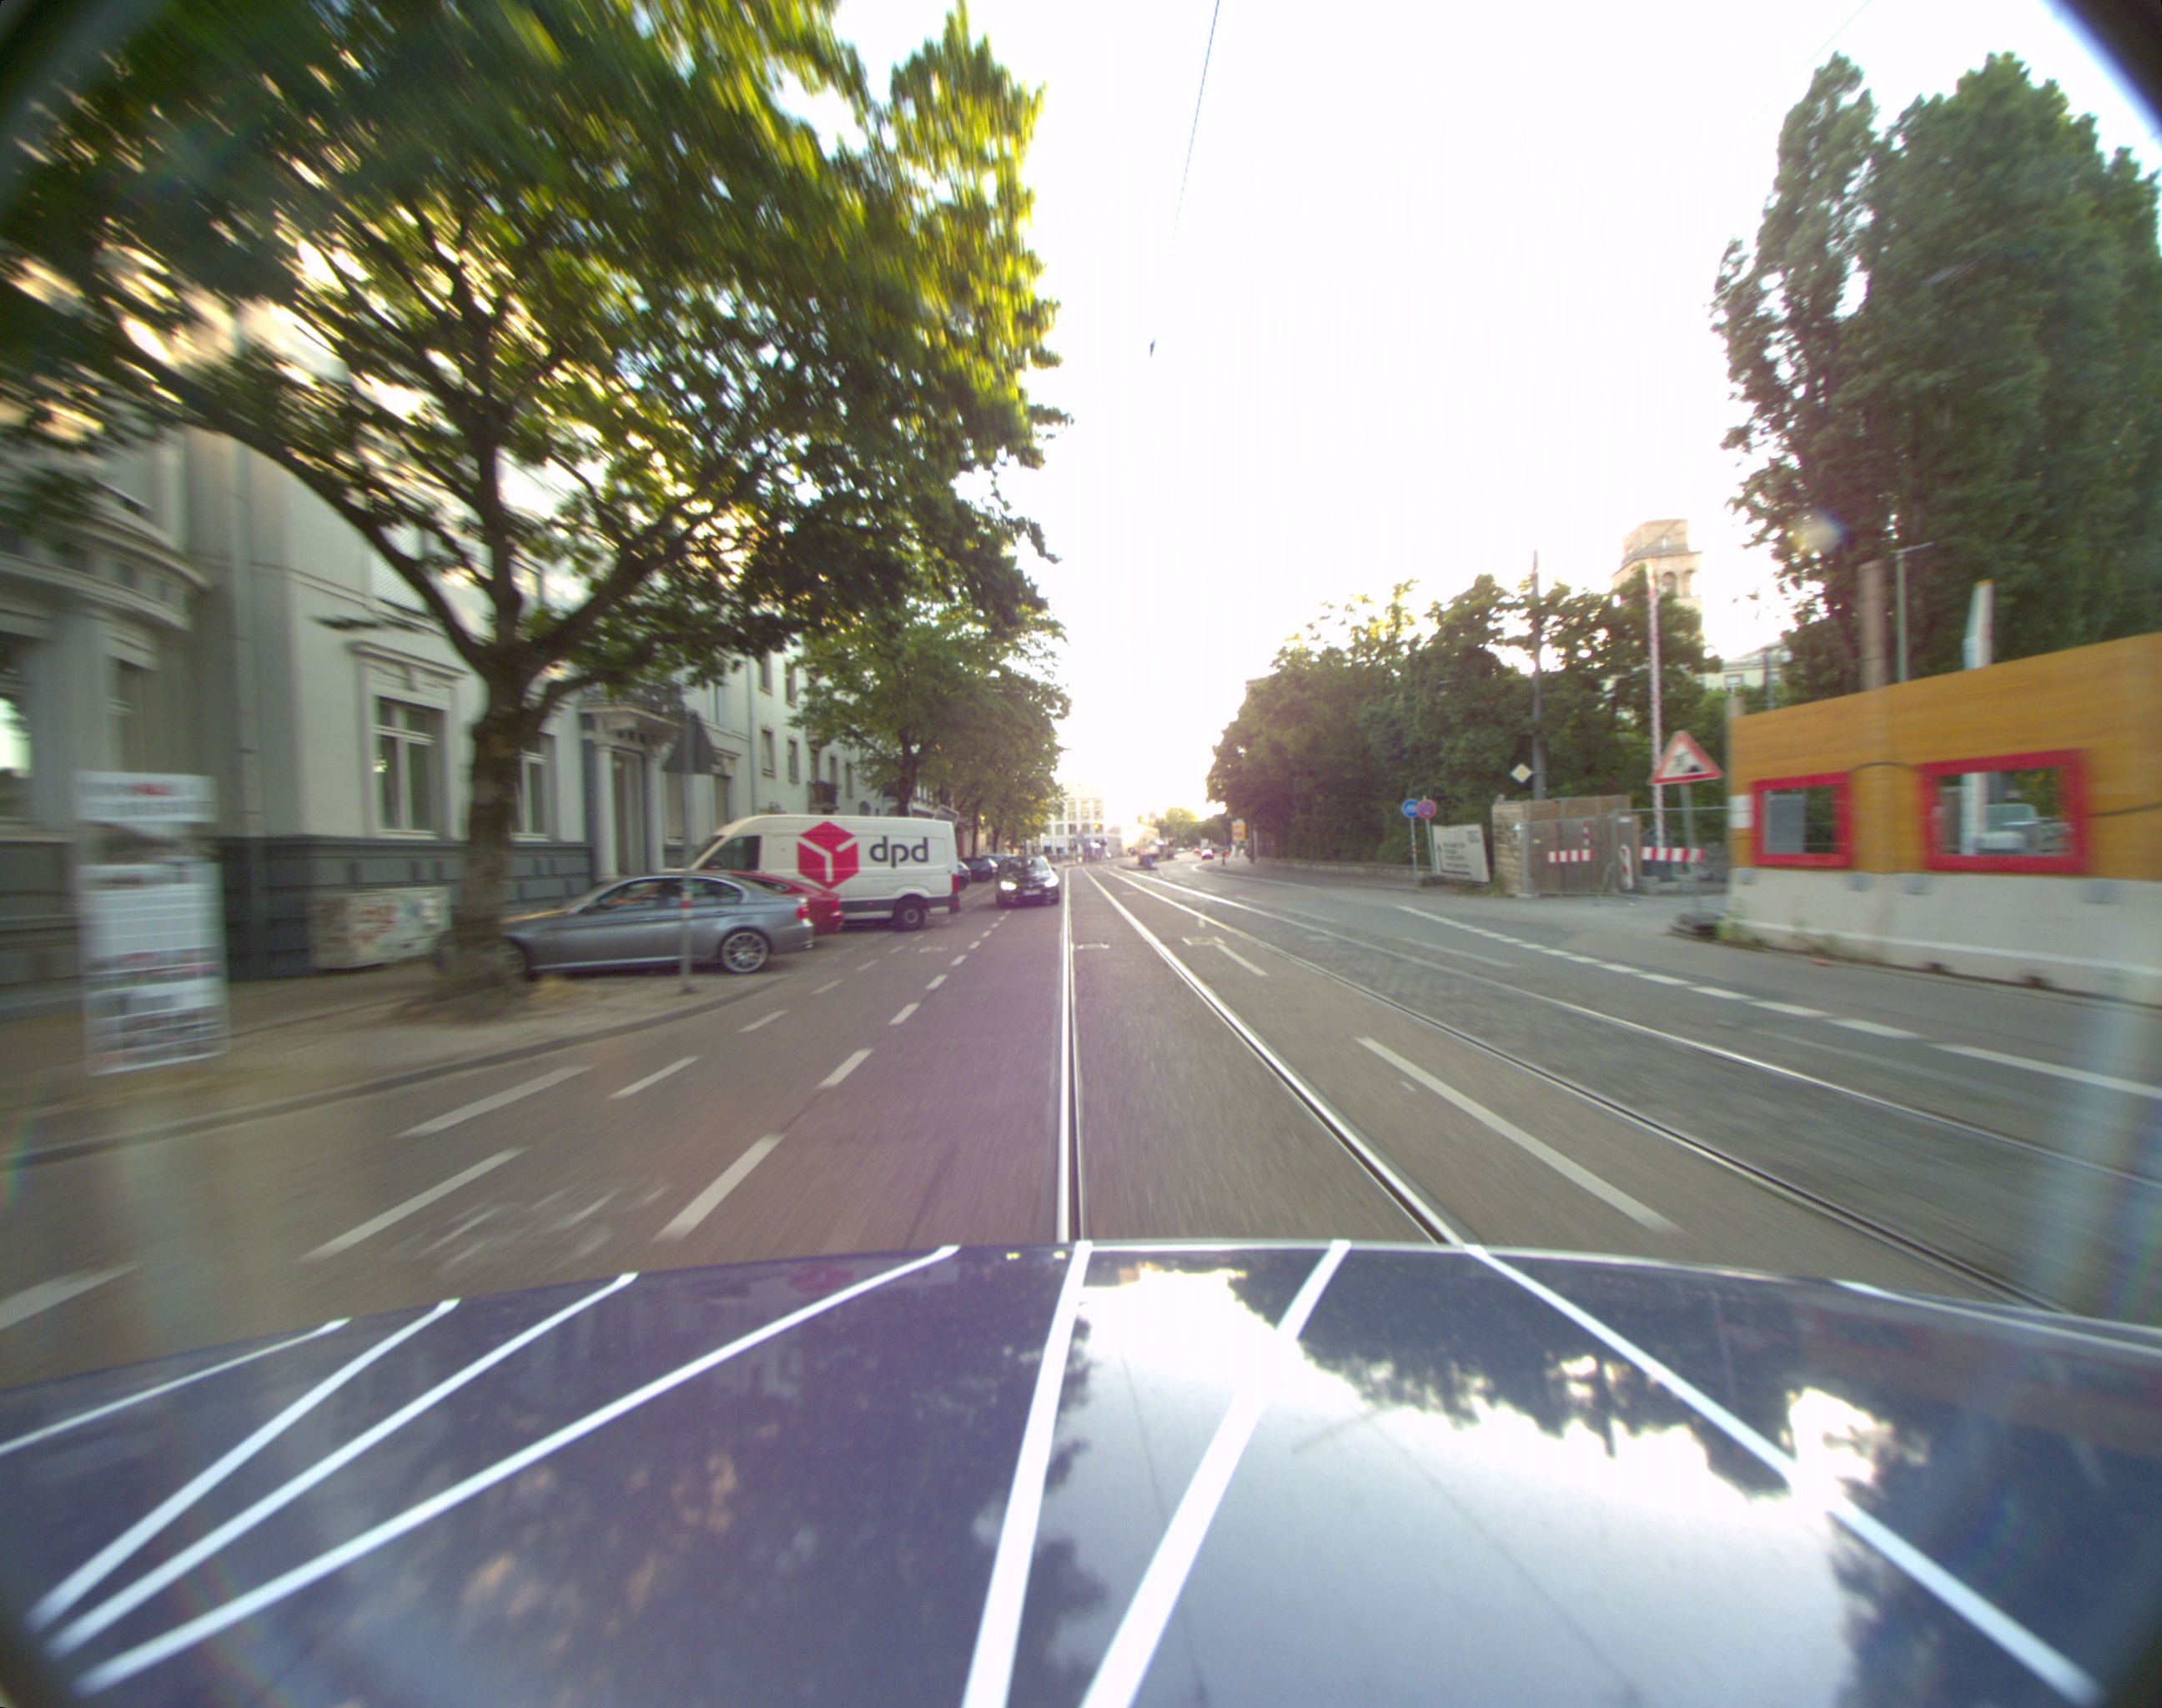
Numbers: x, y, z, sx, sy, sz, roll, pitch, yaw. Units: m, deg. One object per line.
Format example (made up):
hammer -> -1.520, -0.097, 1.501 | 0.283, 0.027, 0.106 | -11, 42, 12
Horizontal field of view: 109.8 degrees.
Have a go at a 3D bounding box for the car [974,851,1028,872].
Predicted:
car -> -6.904, 0.617, 65.541 | 4.217, 1.600, 1.739 | -2, 1, -30

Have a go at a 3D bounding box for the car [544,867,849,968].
car -> -6.499, 0.973, 13.187 | 4.414, 1.436, 1.983 | 0, 1, -29

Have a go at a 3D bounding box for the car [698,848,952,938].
car -> -6.345, 0.859, 19.189 | 5.650, 1.884, 2.166 | -2, 0, -35

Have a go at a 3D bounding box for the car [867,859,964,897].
car -> -6.845, 0.952, 31.535 | 3.581, 1.402, 1.517 | -2, 1, -36

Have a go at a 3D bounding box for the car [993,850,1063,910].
car -> -1.612, 0.754, 24.482 | 1.840, 1.631, 4.168 | -5, 0, -1

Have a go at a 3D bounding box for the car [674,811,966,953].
car -> -5.636, 0.472, 16.825 | 5.650, 2.678, 2.166 | -2, 1, -35

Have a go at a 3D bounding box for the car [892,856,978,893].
car -> -6.667, 0.901, 34.798 | 3.580, 1.536, 1.381 | -2, 1, -30

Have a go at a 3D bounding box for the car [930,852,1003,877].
car -> -7.074, 0.622, 46.760 | 4.214, 1.494, 1.741 | 0, 0, -17

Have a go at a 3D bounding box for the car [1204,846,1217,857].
car -> 21.137, -0.385, 124.208 | 1.997, 1.674, 4.002 | -1, 0, 9

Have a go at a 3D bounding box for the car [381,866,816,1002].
car -> -6.176, 0.932, 10.359 | 4.615, 1.504, 1.858 | 1, -1, -28

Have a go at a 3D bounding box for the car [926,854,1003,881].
car -> -6.818, 0.784, 44.324 | 4.214, 1.494, 1.741 | 0, 0, -17

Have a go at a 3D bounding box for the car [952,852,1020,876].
car -> -6.412, 0.653, 51.286 | 4.218, 1.600, 1.699 | 0, 0, -30

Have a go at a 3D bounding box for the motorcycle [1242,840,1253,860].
motorcycle -> 20.809, -0.451, 94.878 | 1.022, 2.429, 2.669 | -2, 1, 7

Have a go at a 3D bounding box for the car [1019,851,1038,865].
car -> -6.395, 0.420, 92.460 | 1.742, 1.600, 3.822 | -2, 0, 4

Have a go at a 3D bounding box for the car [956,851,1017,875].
car -> -7.131, 0.678, 57.416 | 4.217, 1.600, 1.739 | -2, 1, -30
